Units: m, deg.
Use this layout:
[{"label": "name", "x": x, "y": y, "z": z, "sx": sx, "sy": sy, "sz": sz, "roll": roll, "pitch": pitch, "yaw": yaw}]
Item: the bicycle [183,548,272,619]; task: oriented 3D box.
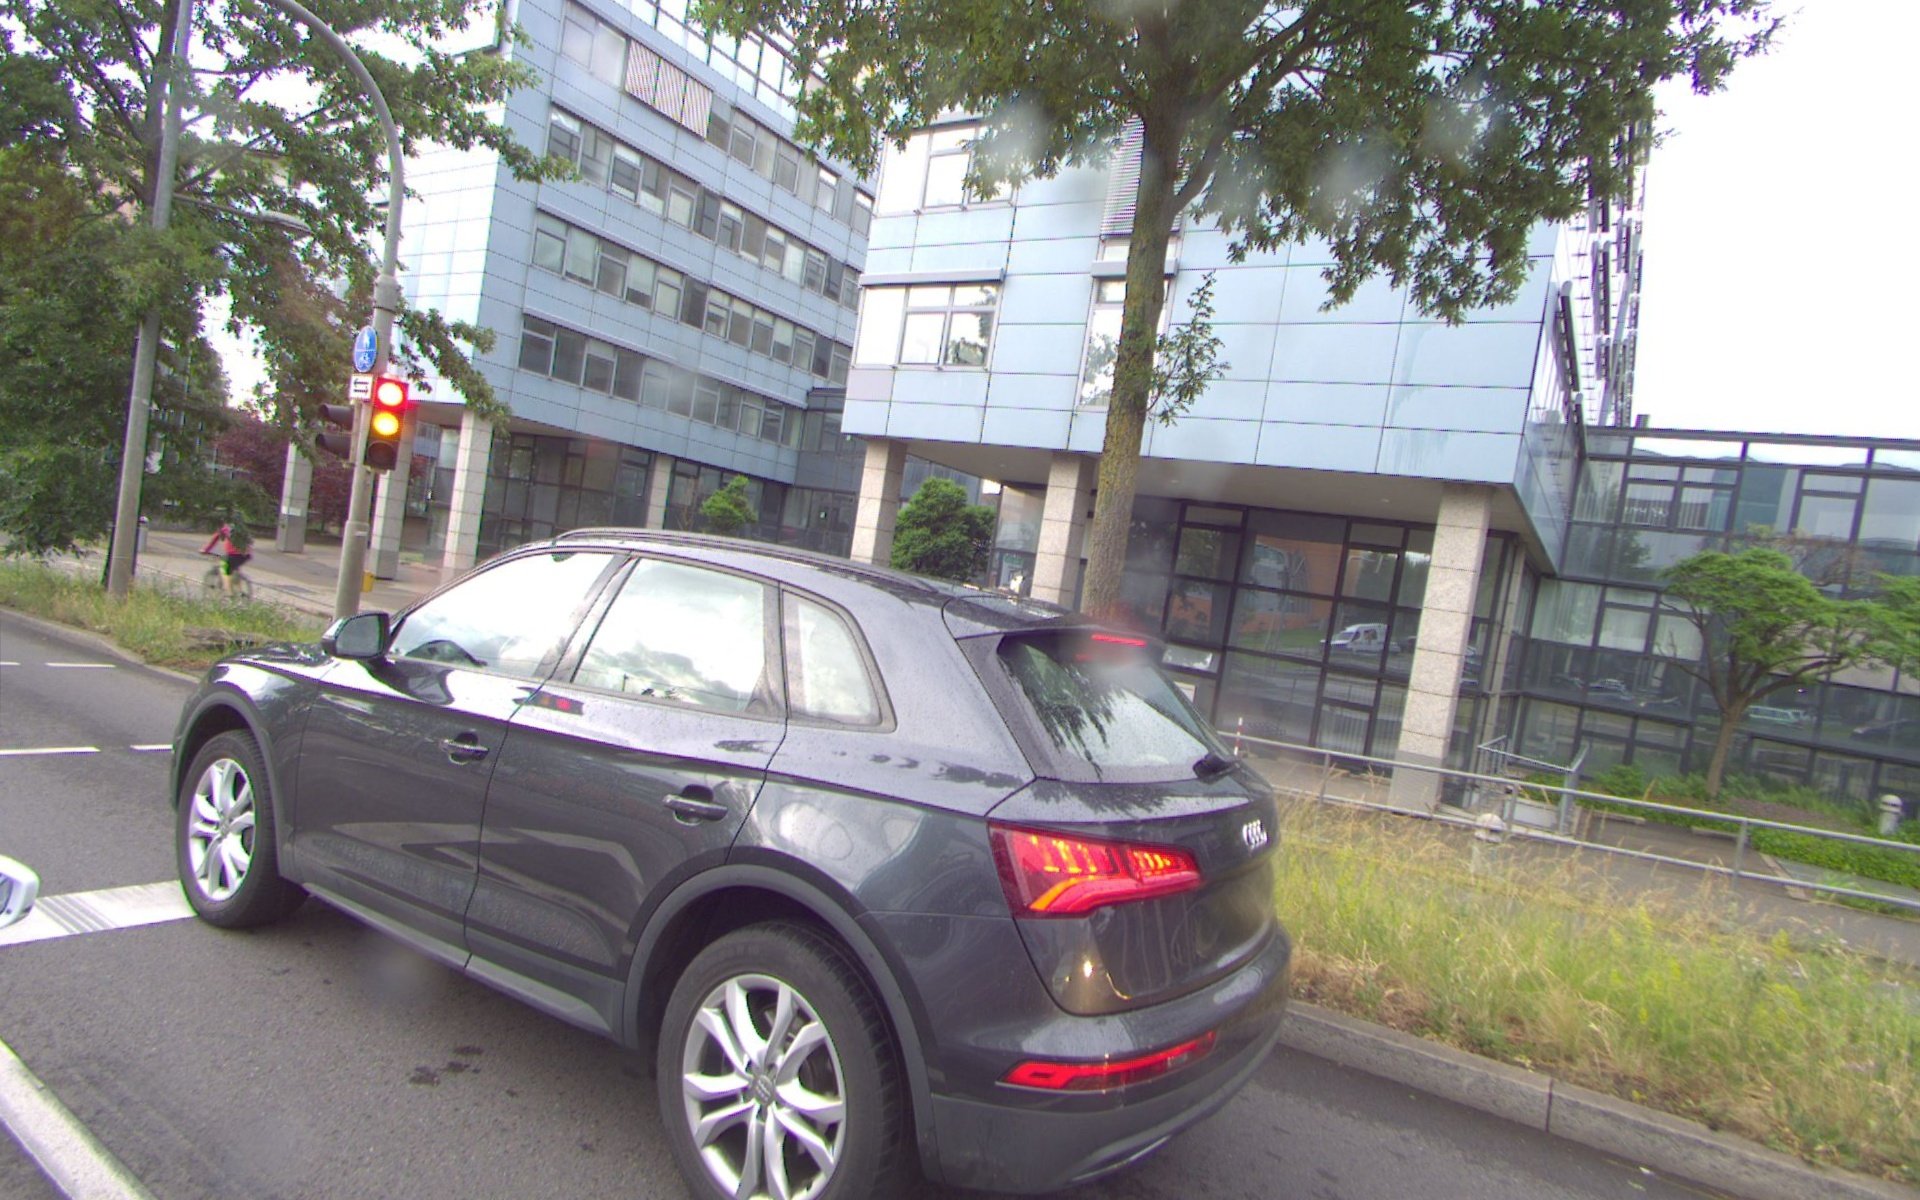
[{"label": "bicycle", "x": -13.845, "y": -0.317, "z": 18.992, "sx": 1.874, "sy": 1.101, "sz": 0.581, "roll": 7, "pitch": -1, "yaw": 32}]

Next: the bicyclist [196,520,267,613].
[{"label": "bicyclist", "x": -13.663, "y": -0.617, "z": 18.868, "sx": 0.840, "sy": 1.597, "sz": 0.647, "roll": 8, "pitch": -1, "yaw": 32}]

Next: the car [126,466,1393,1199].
[{"label": "car", "x": -0.978, "y": 0.570, "z": 3.724, "sx": 4.396, "sy": 1.632, "sz": 1.821, "roll": 7, "pitch": -1, "yaw": 32}]
